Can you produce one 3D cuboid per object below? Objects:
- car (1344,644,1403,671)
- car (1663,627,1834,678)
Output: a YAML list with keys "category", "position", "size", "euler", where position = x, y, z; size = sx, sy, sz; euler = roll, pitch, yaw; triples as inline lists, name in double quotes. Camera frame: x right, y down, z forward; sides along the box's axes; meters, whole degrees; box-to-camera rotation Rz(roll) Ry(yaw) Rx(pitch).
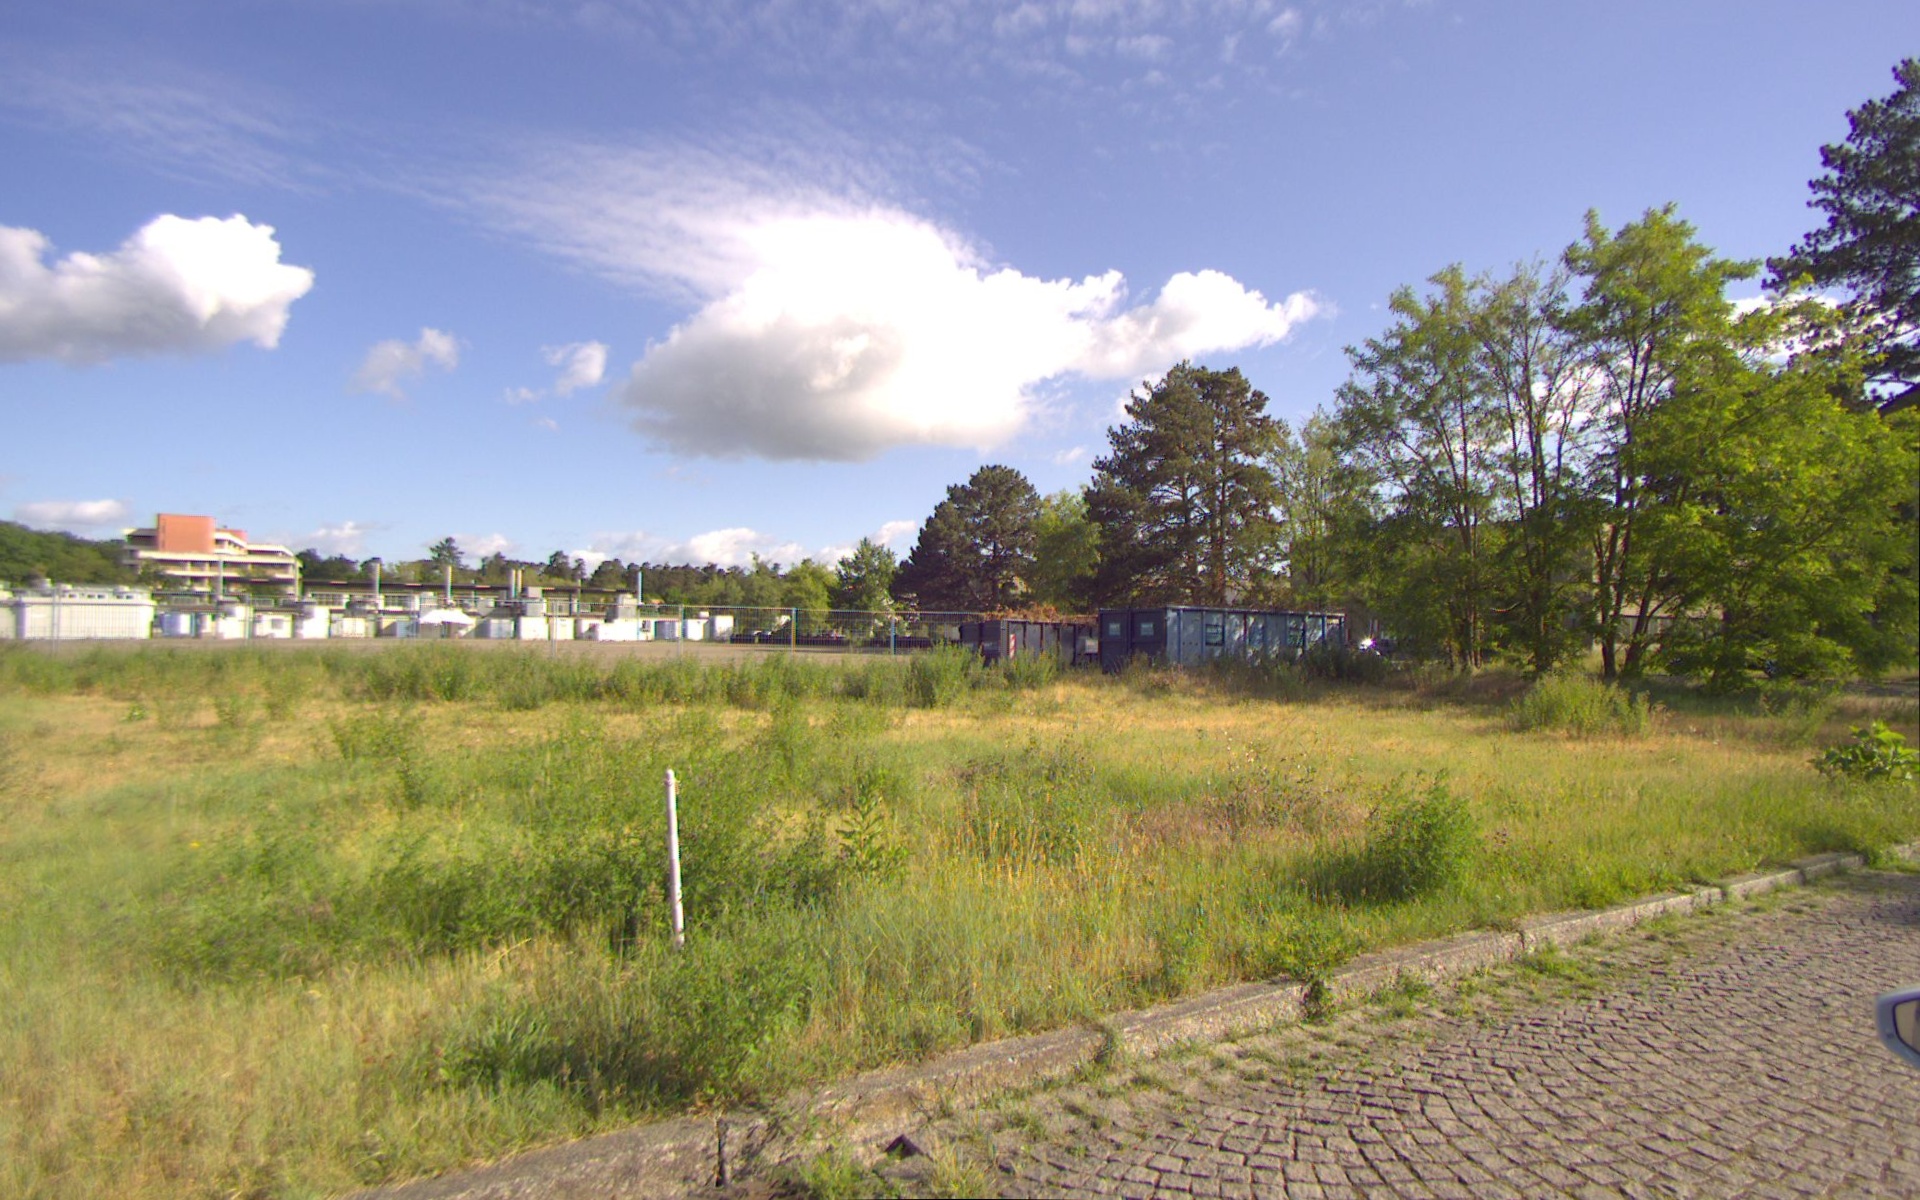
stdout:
- category: "car"
  position: [29.537, 4.100, 71.719]
  size: [3.951, 1.802, 1.858]
  euler: [2, -2, -27]
- category: "car"
  position: [26.533, 1.727, 33.962]
  size: [1.985, 1.630, 4.127]
  euler: [1, -2, -28]
